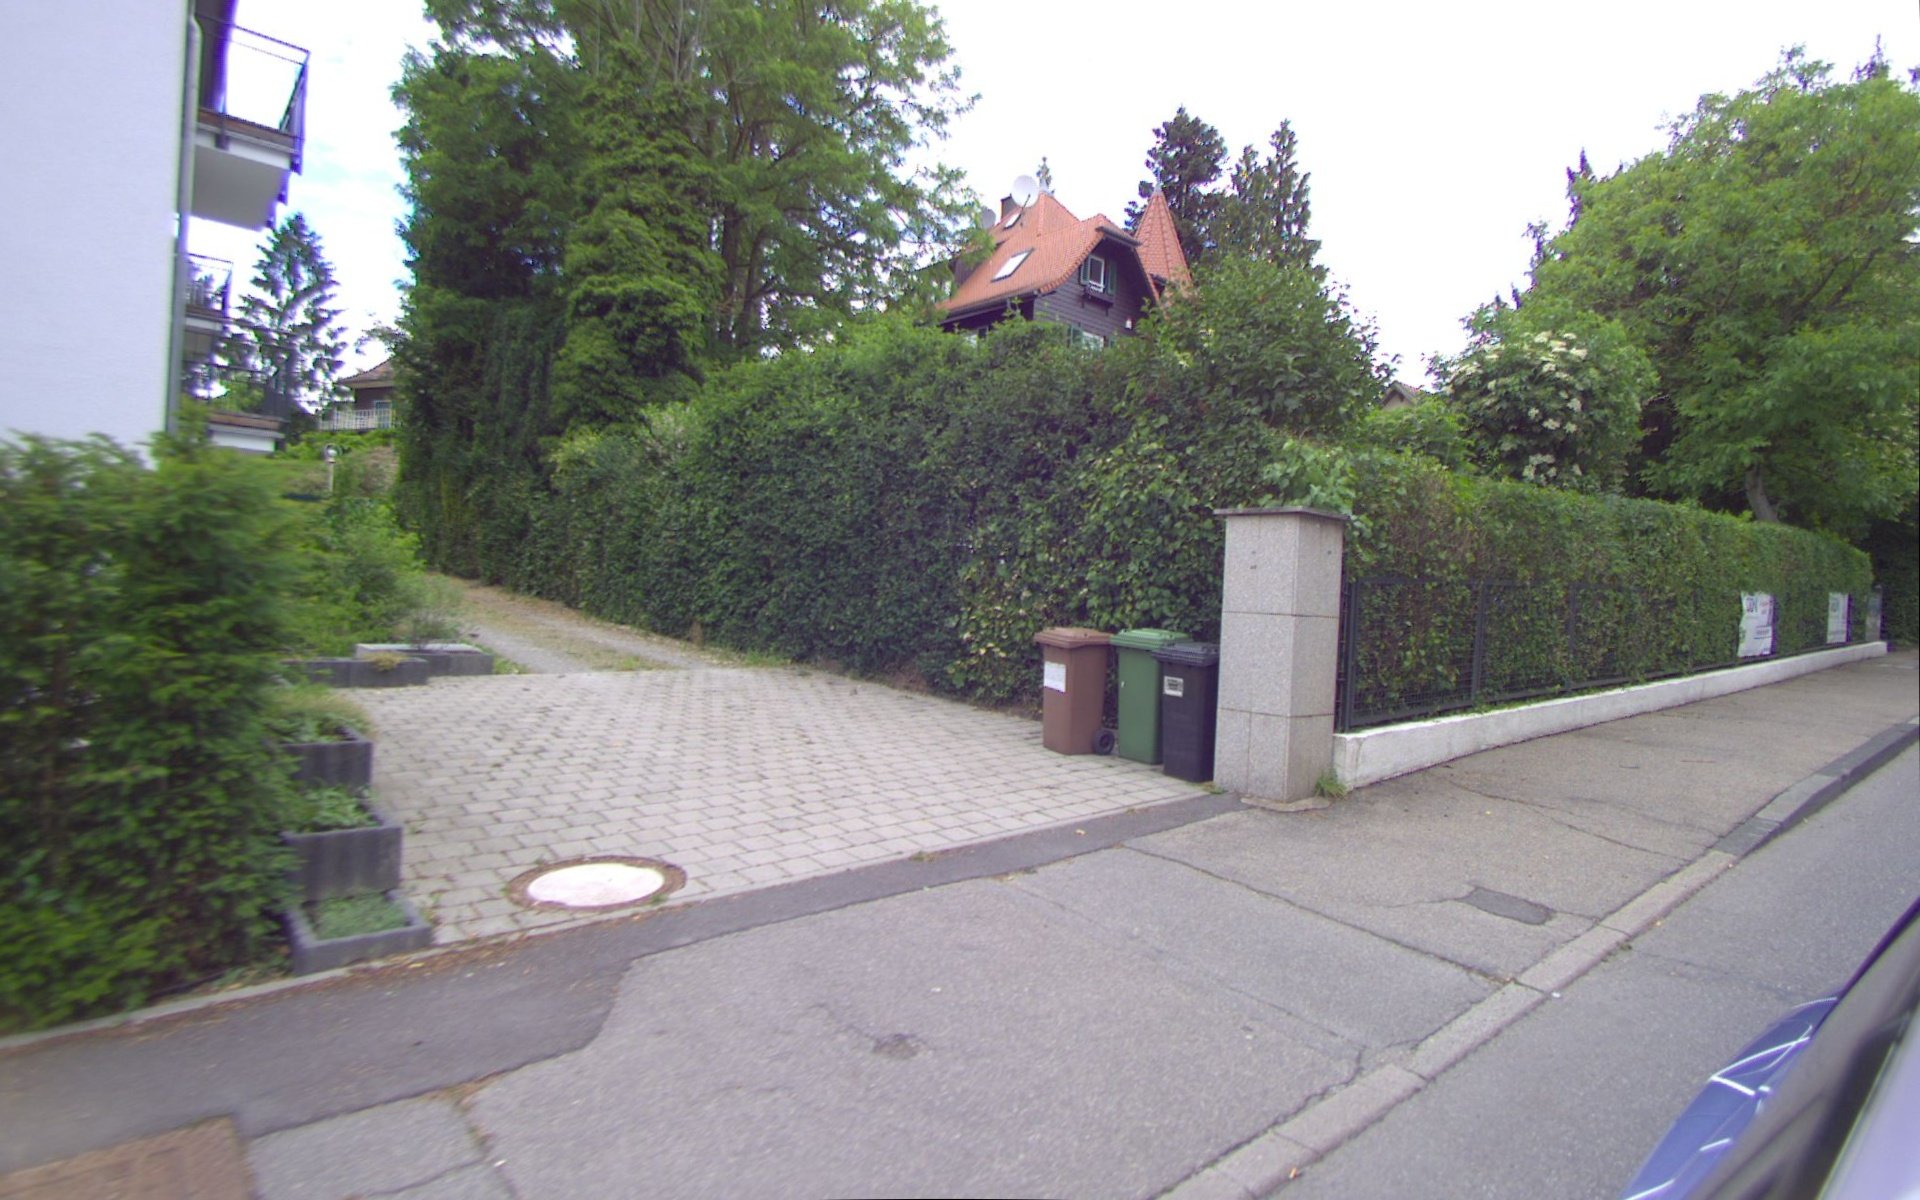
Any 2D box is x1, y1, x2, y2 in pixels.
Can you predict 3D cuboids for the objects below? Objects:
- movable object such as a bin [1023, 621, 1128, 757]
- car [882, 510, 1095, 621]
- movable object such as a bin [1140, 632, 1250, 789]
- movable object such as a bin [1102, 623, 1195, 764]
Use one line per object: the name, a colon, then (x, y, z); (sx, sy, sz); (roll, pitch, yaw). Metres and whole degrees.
movable object such as a bin: (0.871, 0.650, 7.647); (0.593, 0.949, 0.466); (1, 2, -37)
car: (0.285, -0.529, 15.749); (1.958, 1.482, 4.009); (0, 2, -20)
movable object such as a bin: (1.598, 0.719, 6.863); (0.464, 0.949, 0.596); (5, 3, 39)
movable object such as a bin: (1.406, 0.671, 7.511); (0.463, 0.949, 0.598); (3, 2, 32)
